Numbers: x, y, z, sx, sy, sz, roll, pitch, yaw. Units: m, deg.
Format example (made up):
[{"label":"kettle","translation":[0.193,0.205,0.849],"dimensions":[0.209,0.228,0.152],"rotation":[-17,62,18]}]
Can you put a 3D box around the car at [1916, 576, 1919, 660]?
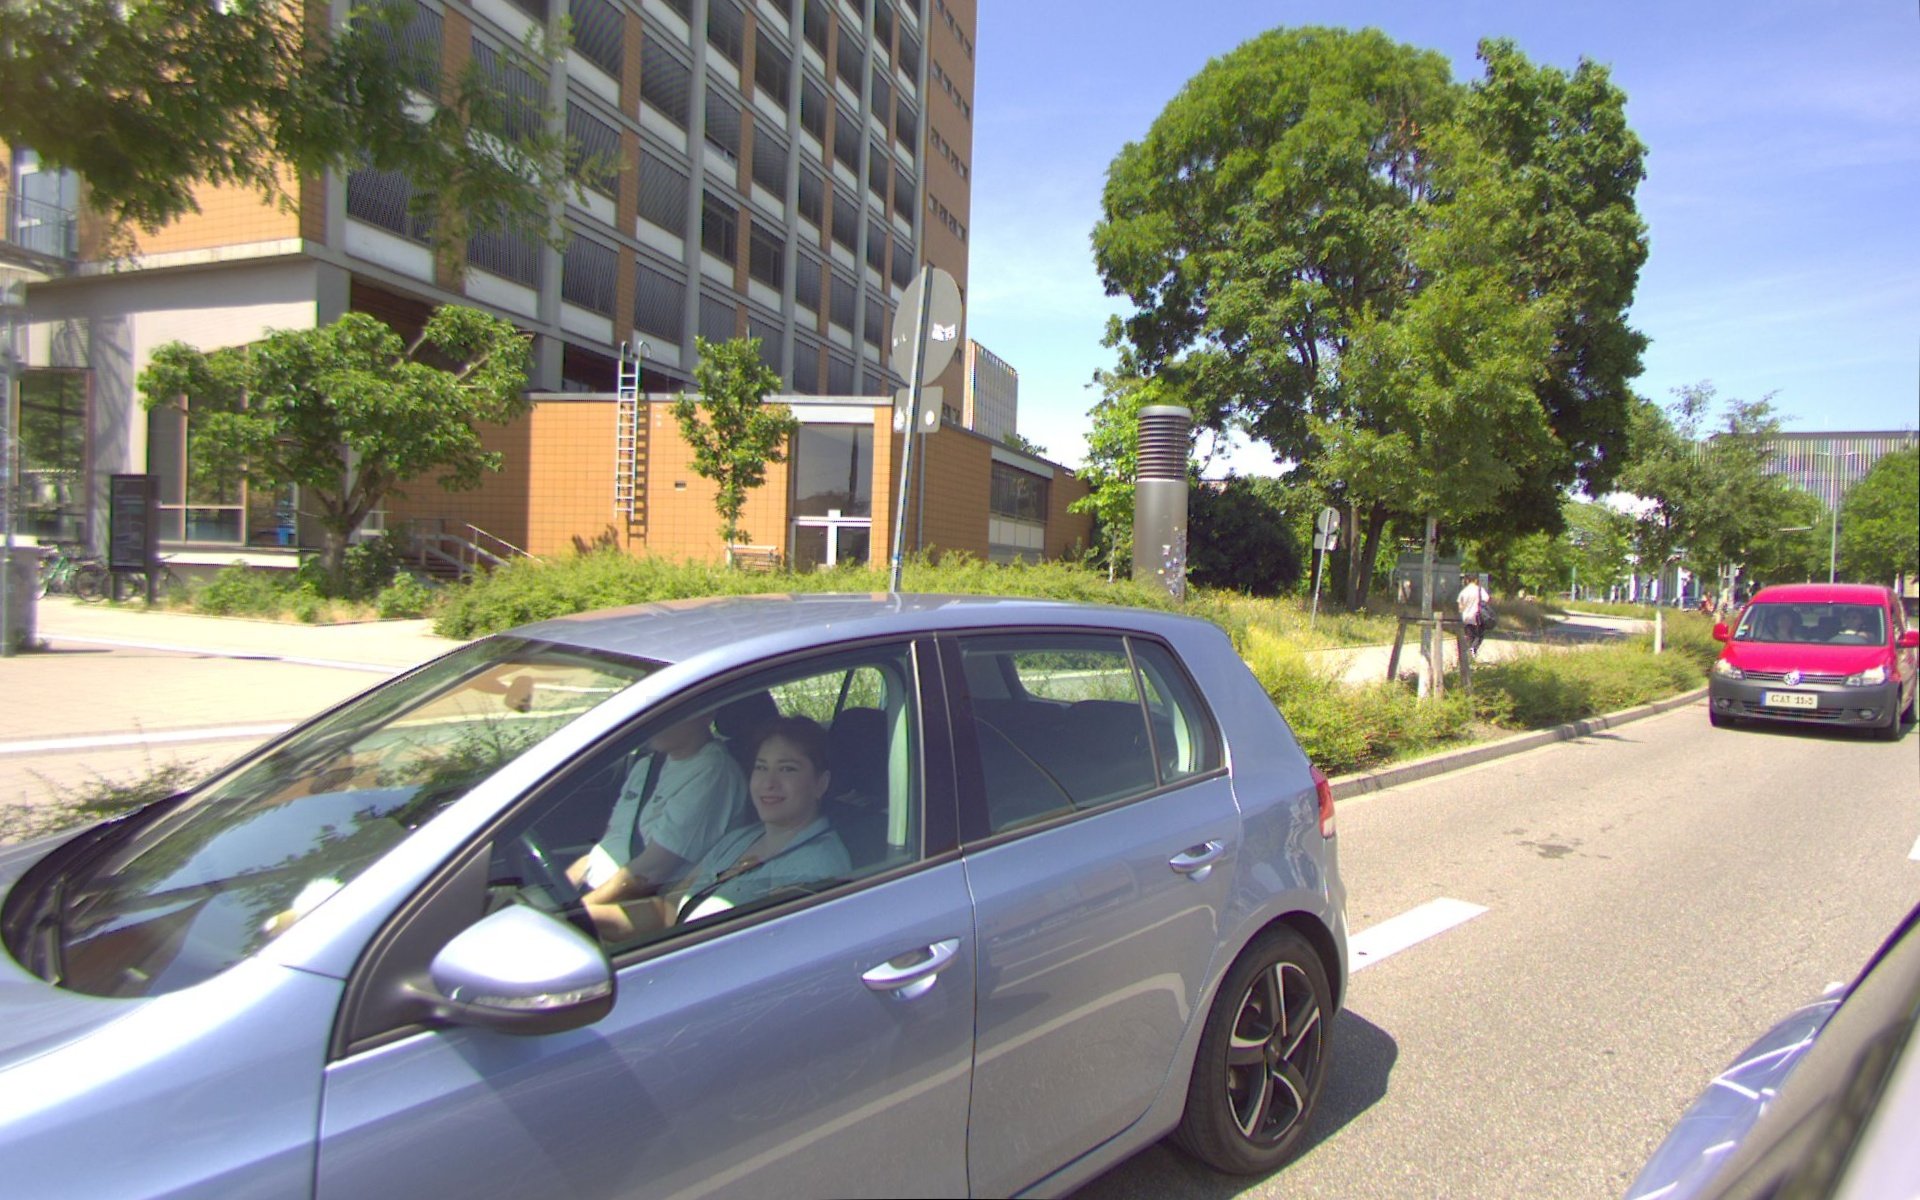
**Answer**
[{"label":"car","translation":[25.272,0.435,25.039],"dimensions":[4.765,1.995,1.969],"rotation":[0,0,-42]}]

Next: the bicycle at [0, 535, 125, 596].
[{"label":"bicycle","translation":[-19.295,-0.705,21.630],"dimensions":[0.629,1.233,2.201],"rotation":[0,0,22]}]

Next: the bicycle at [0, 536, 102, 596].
[{"label":"bicycle","translation":[-20.063,-0.718,21.935],"dimensions":[0.629,1.233,2.201],"rotation":[0,0,22]}]

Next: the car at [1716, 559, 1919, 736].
[{"label":"car","translation":[11.186,0.500,12.905],"dimensions":[4.468,1.882,1.653],"rotation":[0,1,-42]}]

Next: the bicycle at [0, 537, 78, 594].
[{"label":"bicycle","translation":[-20.835,-0.740,22.210],"dimensions":[0.630,1.233,2.201],"rotation":[0,0,22]}]

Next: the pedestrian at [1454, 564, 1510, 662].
[{"label":"pedestrian","translation":[9.973,0.226,19.334],"dimensions":[0.603,1.820,0.728],"rotation":[1,1,-40]}]

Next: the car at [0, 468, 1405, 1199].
[{"label":"car","translation":[-0.670,0.608,2.333],"dimensions":[3.935,1.477,1.653],"rotation":[0,0,-42]}]
